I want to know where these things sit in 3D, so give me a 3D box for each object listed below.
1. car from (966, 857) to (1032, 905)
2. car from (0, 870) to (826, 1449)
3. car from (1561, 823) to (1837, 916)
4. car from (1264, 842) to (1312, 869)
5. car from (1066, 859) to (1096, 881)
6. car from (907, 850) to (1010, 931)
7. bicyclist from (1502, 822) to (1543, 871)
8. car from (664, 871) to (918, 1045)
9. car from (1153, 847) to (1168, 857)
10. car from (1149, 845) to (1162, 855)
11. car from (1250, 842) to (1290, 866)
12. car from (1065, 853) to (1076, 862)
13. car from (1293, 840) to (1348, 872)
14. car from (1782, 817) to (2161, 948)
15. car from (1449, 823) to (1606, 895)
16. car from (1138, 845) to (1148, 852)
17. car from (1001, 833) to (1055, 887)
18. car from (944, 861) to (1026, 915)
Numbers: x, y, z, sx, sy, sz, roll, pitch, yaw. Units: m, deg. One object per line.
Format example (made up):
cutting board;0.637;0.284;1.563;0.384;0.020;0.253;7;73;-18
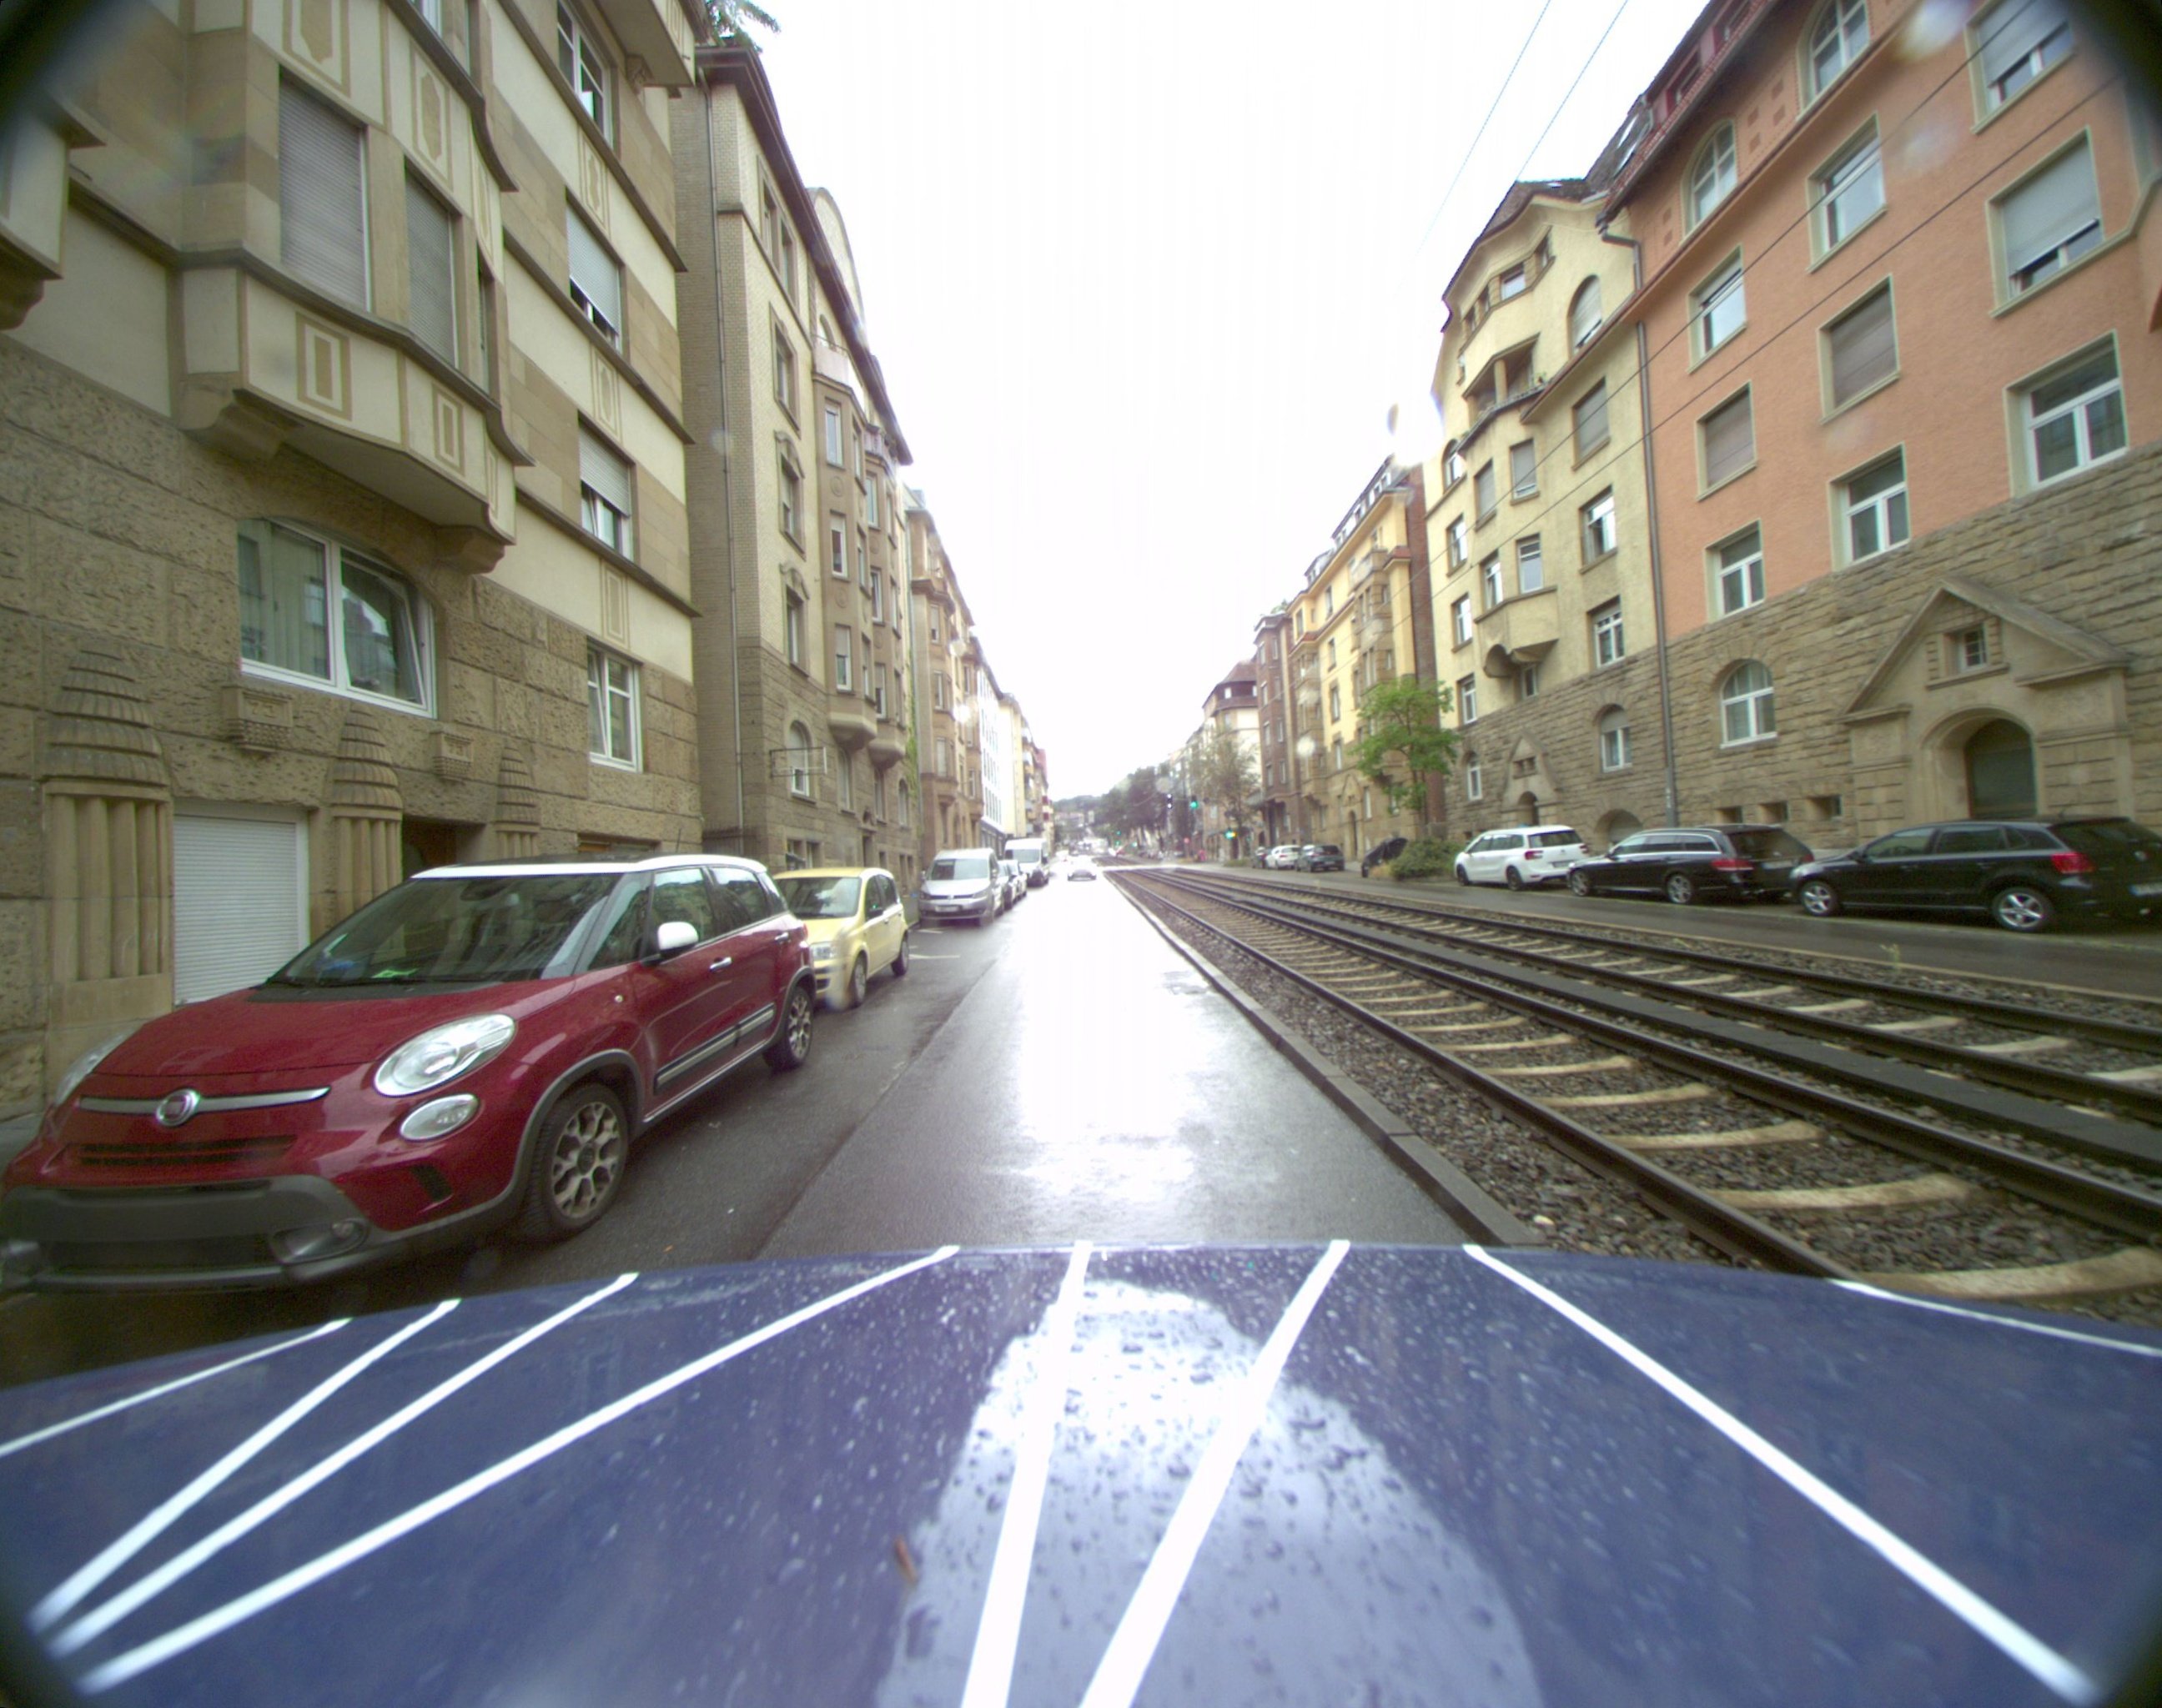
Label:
car;-2.987;0.944;28.501;1.935;1.516;4.058;-3;0;1
car;-2.985;0.957;4.248;1.774;1.592;3.999;-1;0;-1
car;12.210;0.248;15.521;1.760;1.482;4.597;-4;1;-1
car;12.445;0.056;45.905;1.759;1.443;4.043;-5;1;2
car;0.033;0.943;46.142;1.737;1.262;4.258;0;0;1
car;-2.943;0.820;19.102;1.811;1.758;3.962;-2;0;1
bicyclist;14.864;-0.256;25.606;0.894;1.592;0.774;-2;1;1
car;-3.185;1.048;9.126;1.632;1.502;3.531;-3;0;-1
car;12.034;-0.324;115.789;1.794;1.339;4.257;-2;1;0
car;12.472;-0.658;127.257;1.794;1.609;4.257;-2;1;0
car;12.575;-0.015;50.729;1.759;1.419;3.712;-5;1;2
car;-1.779;0.634;132.979;1.794;1.459;4.257;-2;1;1
car;12.501;0.061;39.843;1.717;1.473;3.712;-5;1;2
car;12.451;0.300;10.616;1.760;1.396;3.694;-4;1;-2
car;12.234;0.105;21.185;1.759;1.663;4.259;-5;1;0
car;12.814;-1.064;157.695;1.794;1.339;4.257;-2;1;0
car;-2.703;0.291;40.082;1.991;2.520;6.155;-3;0;3
car;-2.914;1.000;23.918;1.931;1.380;3.982;-3;0;1
